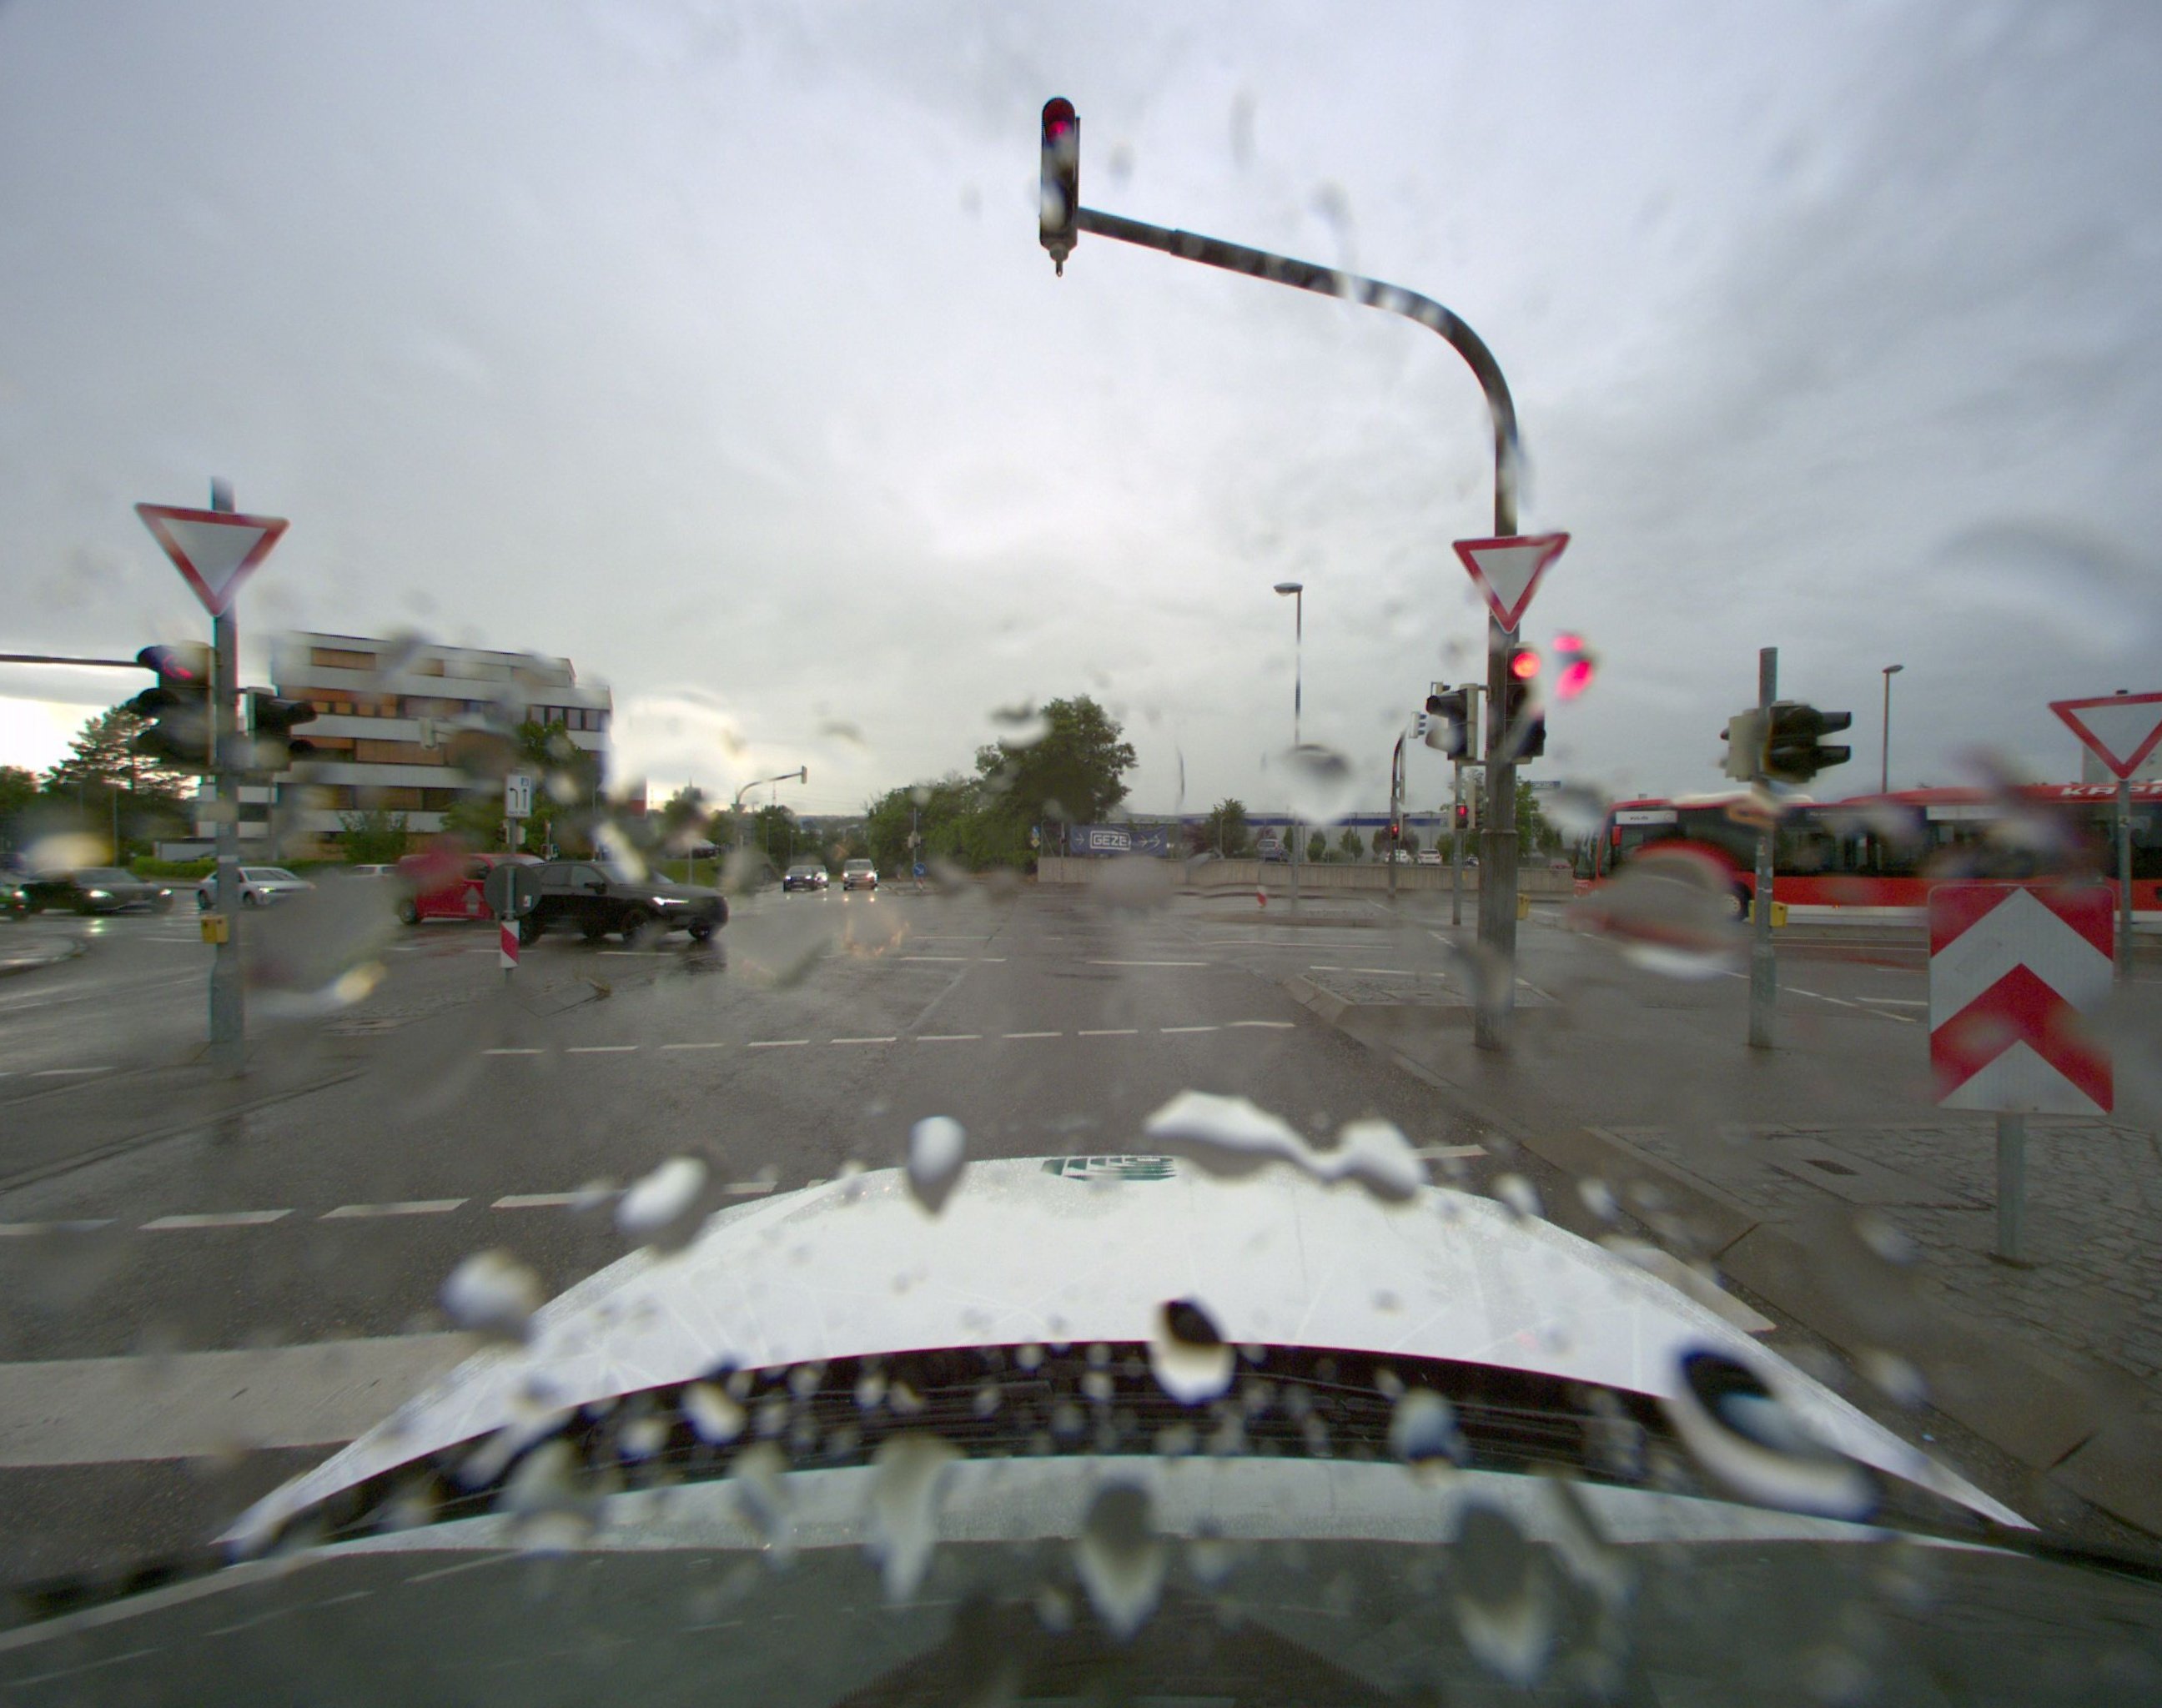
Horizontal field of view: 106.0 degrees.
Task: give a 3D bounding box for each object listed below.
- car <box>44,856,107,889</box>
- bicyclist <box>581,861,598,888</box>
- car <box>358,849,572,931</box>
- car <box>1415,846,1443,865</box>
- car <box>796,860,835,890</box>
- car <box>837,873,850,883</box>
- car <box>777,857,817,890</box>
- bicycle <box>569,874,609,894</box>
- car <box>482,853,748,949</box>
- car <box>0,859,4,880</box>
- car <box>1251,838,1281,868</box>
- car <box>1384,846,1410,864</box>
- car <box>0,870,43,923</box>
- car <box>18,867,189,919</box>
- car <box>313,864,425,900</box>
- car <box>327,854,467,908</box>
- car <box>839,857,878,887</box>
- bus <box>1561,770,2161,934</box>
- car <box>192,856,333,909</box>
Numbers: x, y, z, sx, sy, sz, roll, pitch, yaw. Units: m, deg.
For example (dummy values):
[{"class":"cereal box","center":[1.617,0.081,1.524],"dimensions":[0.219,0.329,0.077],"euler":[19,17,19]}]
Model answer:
[{"class":"car","center":[-60.665,1.082,49.119],"dimensions":[3.948,1.849,2.013],"euler":[0,0,34]},{"class":"bicyclist","center":[-26.260,1.099,43.515],"dimensions":[0.542,1.446,0.602],"euler":[0,0,-5]},{"class":"car","center":[-16.296,0.900,21.612],"dimensions":[4.736,2.013,2.008],"euler":[0,0,15]},{"class":"car","center":[28.690,0.094,67.171],"dimensions":[1.976,1.478,4.021],"euler":[0,0,21]},{"class":"car","center":[-18.219,1.421,56.034],"dimensions":[1.994,1.895,3.985],"euler":[0,0,-11]},{"class":"car","center":[-36.570,3.694,125.154],"dimensions":[1.620,1.448,3.781],"euler":[1,1,-20]},{"class":"car","center":[-16.957,1.119,48.761],"dimensions":[1.998,1.895,3.978],"euler":[0,0,-16]},{"class":"bicycle","center":[-26.274,1.605,43.506],"dimensions":[1.771,1.052,0.609],"euler":[0,0,-5]},{"class":"car","center":[-9.300,0.869,16.340],"dimensions":[4.580,1.679,2.044],"euler":[-1,1,18]},{"class":"car","center":[-102.968,1.472,76.257],"dimensions":[4.950,2.013,2.012],"euler":[0,0,43]},{"class":"car","center":[13.097,-0.084,57.549],"dimensions":[1.979,2.013,4.015],"euler":[0,0,13]},{"class":"car","center":[26.384,0.085,67.850],"dimensions":[1.976,1.478,4.021],"euler":[0,0,22]},{"class":"car","center":[-30.620,1.158,22.322],"dimensions":[3.420,1.387,1.690],"euler":[0,0,20]},{"class":"car","center":[-30.976,1.176,25.807],"dimensions":[4.620,1.476,2.010],"euler":[0,0,20]},{"class":"car","center":[-33.663,1.276,38.527],"dimensions":[3.960,1.596,1.964],"euler":[0,0,12]},{"class":"car","center":[-24.975,0.941,29.779],"dimensions":[4.108,1.840,2.009],"euler":[0,0,17]},{"class":"car","center":[-13.086,1.030,48.111],"dimensions":[1.995,1.618,3.983],"euler":[0,0,-13]},{"class":"bus","center":[18.663,-0.130,19.279],"dimensions":[12.177,3.321,3.090],"euler":[1,0,19]},{"class":"car","center":[-28.481,0.938,28.361],"dimensions":[3.953,1.684,2.010],"euler":[0,0,21]}]
